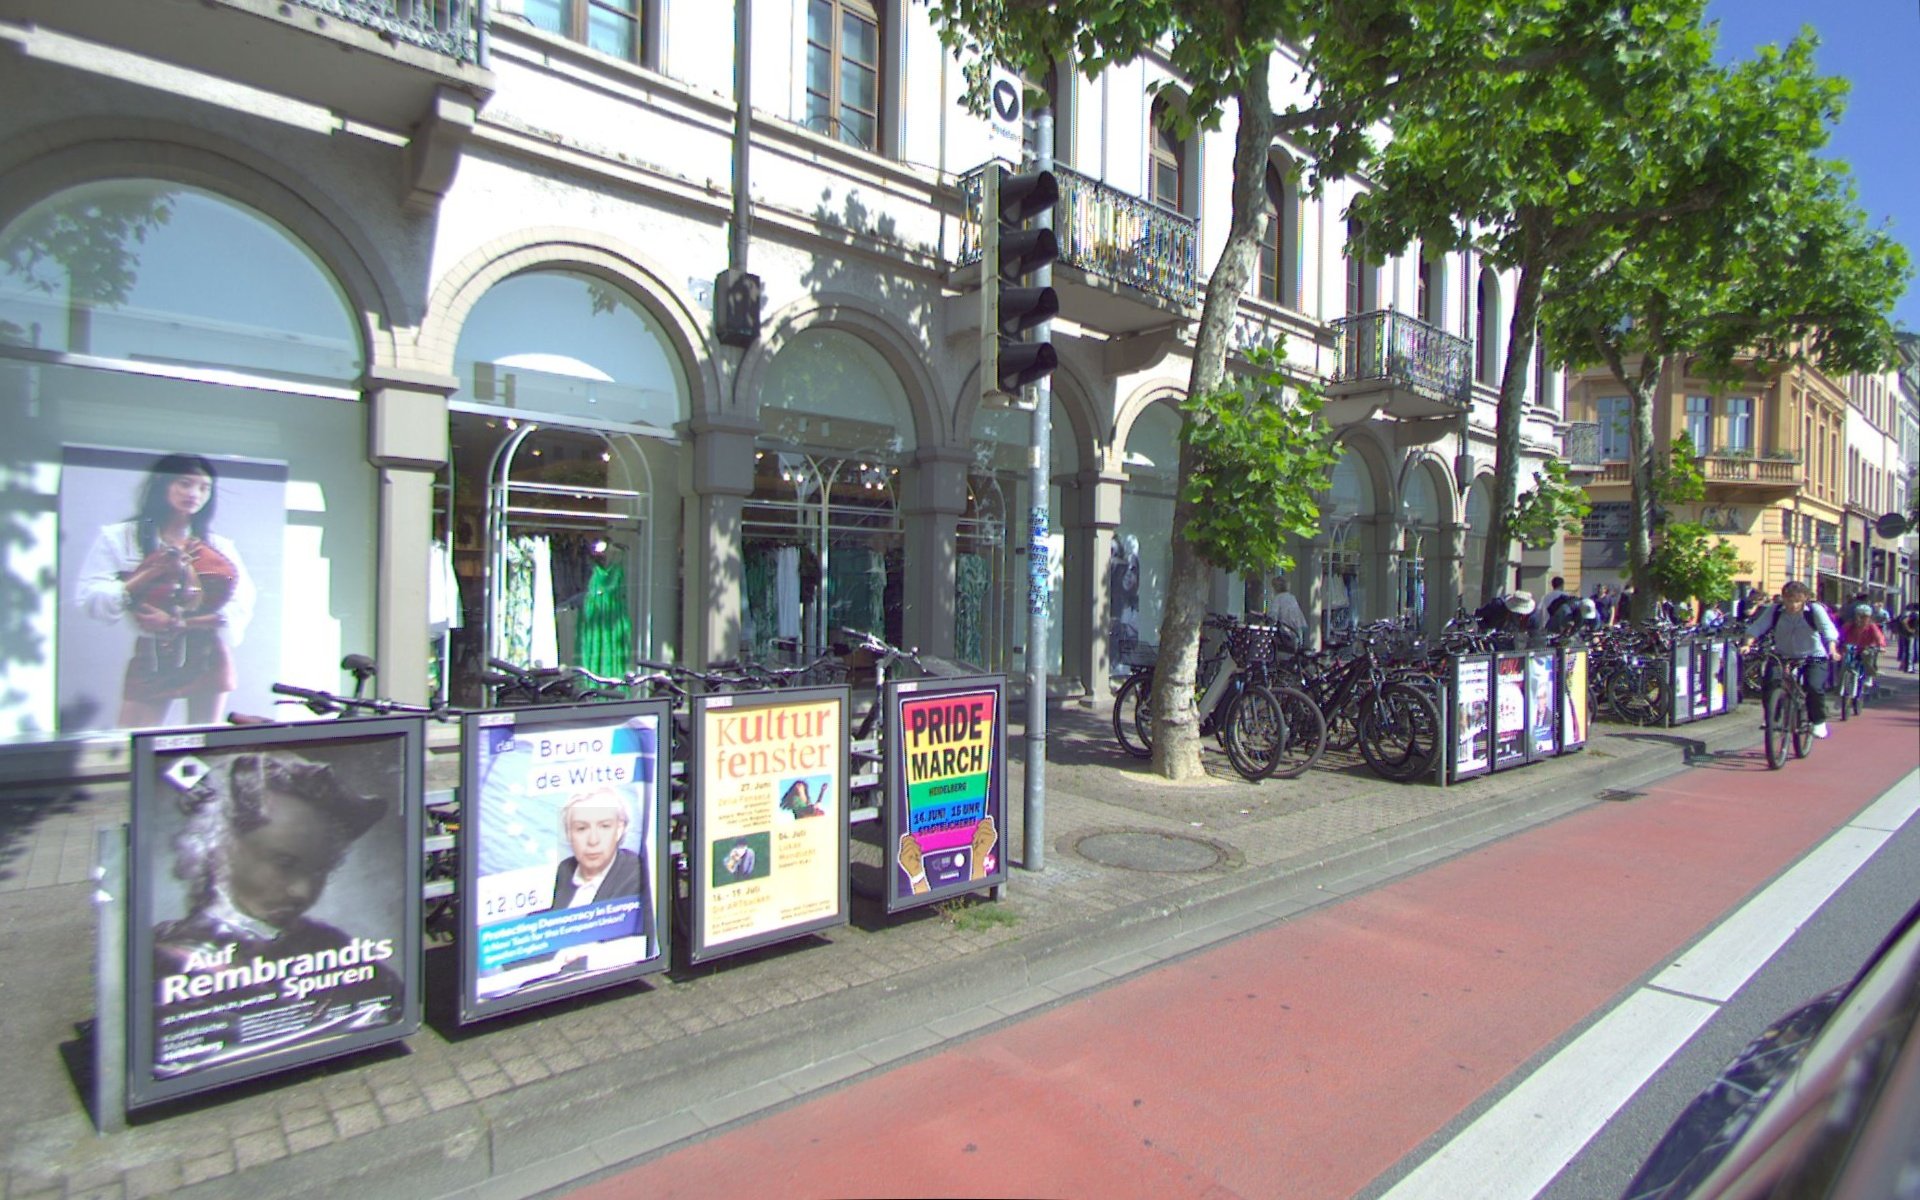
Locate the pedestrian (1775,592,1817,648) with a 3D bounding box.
[{"bbox_3d":[27.804,0.660,33.669,0.733,1.828,0.736,1,0,-9],"label":"pedestrian"}]

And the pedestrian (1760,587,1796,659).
[{"bbox_3d":[21.371,0.598,26.438,0.611,1.869,0.577,1,-2,-40],"label":"pedestrian"}]

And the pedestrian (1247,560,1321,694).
[{"bbox_3d":[4.291,0.349,13.404,0.664,1.718,0.658,1,-2,-39],"label":"pedestrian"}]

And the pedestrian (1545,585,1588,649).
[{"bbox_3d":[16.188,0.453,27.024,0.611,1.668,0.797,1,-2,-40],"label":"pedestrian"}]

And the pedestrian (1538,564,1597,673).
[{"bbox_3d":[10.348,0.311,17.238,0.763,1.816,0.634,1,-2,-43],"label":"pedestrian"}]

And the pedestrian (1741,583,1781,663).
[{"bbox_3d":[17.401,0.496,21.984,0.612,1.706,0.577,1,-2,-44],"label":"pedestrian"}]

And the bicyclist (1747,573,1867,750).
[{"bbox_3d":[8.106,0.559,9.684,0.765,1.597,0.749,1,-2,-42],"label":"bicyclist"}]

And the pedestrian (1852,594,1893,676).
[{"bbox_3d":[19.388,0.737,21.497,0.612,1.706,0.577,1,-2,-44],"label":"pedestrian"}]

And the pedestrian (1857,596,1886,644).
[{"bbox_3d":[32.796,0.701,36.403,0.684,1.706,0.571,1,0,35],"label":"pedestrian"}]

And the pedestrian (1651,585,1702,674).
[{"bbox_3d":[14.514,0.593,20.500,0.741,1.763,0.675,1,-2,-43],"label":"pedestrian"}]

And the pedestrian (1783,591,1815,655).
[{"bbox_3d":[24.662,0.663,29.738,0.595,1.837,0.577,0,3,-44],"label":"pedestrian"}]

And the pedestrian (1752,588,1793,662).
[{"bbox_3d":[20.853,0.636,25.976,0.611,1.869,0.664,1,-2,-40],"label":"pedestrian"}]

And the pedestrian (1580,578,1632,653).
[{"bbox_3d":[15.616,0.363,24.456,1.163,1.780,0.622,0,-1,-33],"label":"pedestrian"}]

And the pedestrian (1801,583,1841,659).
[{"bbox_3d":[21.614,0.527,25.405,0.612,1.882,0.685,1,-2,-44],"label":"pedestrian"}]

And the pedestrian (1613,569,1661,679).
[{"bbox_3d":[12.013,0.423,17.953,0.592,1.906,0.545,1,-2,-43],"label":"pedestrian"}]

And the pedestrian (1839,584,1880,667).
[{"bbox_3d":[20.057,0.550,22.555,0.687,1.807,0.577,1,1,-44],"label":"pedestrian"}]

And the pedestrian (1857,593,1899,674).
[{"bbox_3d":[19.814,0.711,21.846,0.581,1.705,0.568,1,2,-44],"label":"pedestrian"}]

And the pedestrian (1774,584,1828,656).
[{"bbox_3d":[22.169,0.532,26.682,0.838,1.869,0.623,0,-1,-2],"label":"pedestrian"}]

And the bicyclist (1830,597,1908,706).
[{"bbox_3d":[12.321,0.675,13.714,0.765,1.414,0.689,1,-2,-42],"label":"bicyclist"}]

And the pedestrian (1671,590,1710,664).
[{"bbox_3d":[18.378,0.662,25.458,0.687,1.827,0.649,1,-2,-42],"label":"pedestrian"}]

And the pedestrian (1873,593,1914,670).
[{"bbox_3d":[21.302,0.708,23.091,0.658,1.705,0.577,1,2,-44],"label":"pedestrian"}]

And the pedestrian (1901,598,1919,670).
[{"bbox_3d":[23.116,0.805,24.274,0.572,1.706,0.721,-1,-1,27],"label":"pedestrian"}]

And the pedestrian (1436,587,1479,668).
[{"bbox_3d":[11.091,0.607,22.565,0.594,1.787,0.623,0,-1,-6],"label":"pedestrian"}]

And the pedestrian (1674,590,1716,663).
[{"bbox_3d":[18.906,0.683,26.047,0.611,1.840,0.631,-1,-1,6],"label":"pedestrian"}]

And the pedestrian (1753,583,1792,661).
[{"bbox_3d":[18.328,0.492,22.826,0.612,1.746,0.577,1,-2,-44],"label":"pedestrian"}]

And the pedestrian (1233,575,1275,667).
[{"bbox_3d":[5.065,0.352,17.428,0.502,1.553,0.530,-2,-2,42],"label":"pedestrian"}]

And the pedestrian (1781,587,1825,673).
[{"bbox_3d":[17.135,0.591,20.579,0.762,1.706,0.577,1,-2,-44],"label":"pedestrian"}]

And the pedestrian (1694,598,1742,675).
[{"bbox_3d":[15.884,0.757,21.208,0.571,1.604,0.518,0,-1,-1],"label":"pedestrian"}]

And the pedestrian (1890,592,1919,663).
[{"bbox_3d":[23.853,0.674,25.389,0.599,1.758,0.642,0,0,27],"label":"pedestrian"}]

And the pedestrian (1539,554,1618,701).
[{"bbox_3d":[8.384,0.363,13.710,0.763,1.927,0.701,1,-2,-43],"label":"pedestrian"}]

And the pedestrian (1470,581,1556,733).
[{"bbox_3d":[5.889,0.585,10.780,0.655,1.558,0.605,1,-2,-42],"label":"pedestrian"}]

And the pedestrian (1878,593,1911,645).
[{"bbox_3d":[33.313,0.683,36.081,0.754,1.815,0.848,1,0,38],"label":"pedestrian"}]

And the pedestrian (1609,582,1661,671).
[{"bbox_3d":[14.053,0.534,21.063,0.763,1.805,0.720,1,-2,-43],"label":"pedestrian"}]

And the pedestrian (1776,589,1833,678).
[{"bbox_3d":[16.449,0.639,19.723,0.568,1.706,0.621,-1,-1,5],"label":"pedestrian"}]
